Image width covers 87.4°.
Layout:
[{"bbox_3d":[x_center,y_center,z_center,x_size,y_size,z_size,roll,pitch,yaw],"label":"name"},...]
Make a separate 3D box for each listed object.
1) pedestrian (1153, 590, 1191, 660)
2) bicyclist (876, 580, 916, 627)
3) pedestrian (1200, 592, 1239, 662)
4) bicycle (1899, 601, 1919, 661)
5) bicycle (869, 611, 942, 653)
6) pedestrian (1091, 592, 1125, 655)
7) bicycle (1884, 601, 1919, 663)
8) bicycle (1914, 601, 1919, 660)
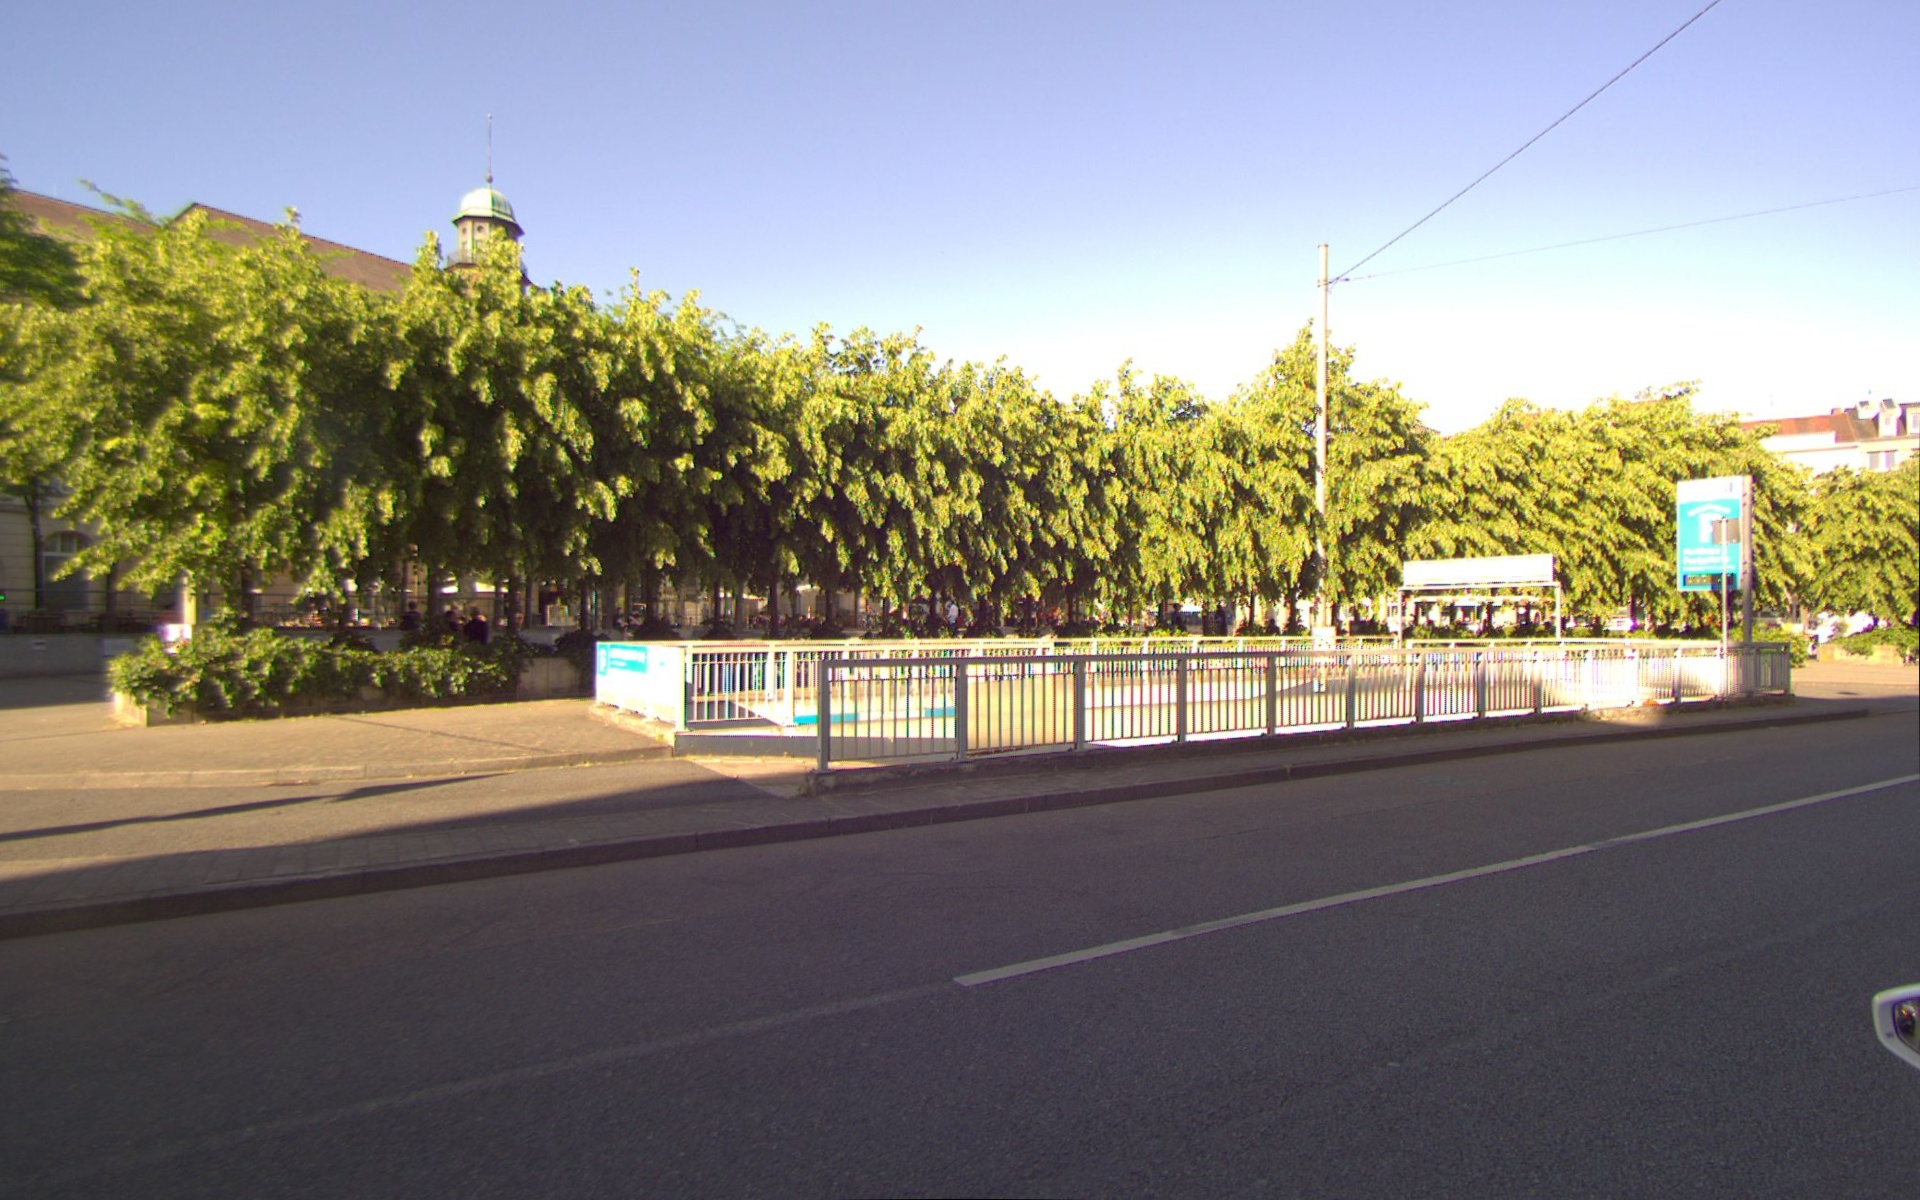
[{"bbox_3d":[6.543,0.776,30.997,0.949,2.136,0.733,0,0,-8],"label":"pedestrian"},{"bbox_3d":[-2.416,0.128,37.814,1.199,1.723,0.957,1,0,-36],"label":"bicyclist"},{"bbox_3d":[8.098,0.834,31.351,0.949,2.136,0.733,0,0,-8],"label":"pedestrian"},{"bbox_3d":[33.460,1.068,33.479,0.895,2.040,3.116,0,0,-21],"label":"bicycle"},{"bbox_3d":[-2.056,1.207,38.120,2.662,1.523,0.957,1,-1,-36],"label":"bicycle"},{"bbox_3d":[5.079,0.797,34.491,0.949,2.136,0.733,0,0,-8],"label":"pedestrian"},{"bbox_3d":[32.593,1.068,33.091,0.895,2.040,3.116,0,0,-21],"label":"bicycle"},{"bbox_3d":[34.368,1.068,33.863,0.895,2.040,3.116,0,0,-21],"label":"bicycle"}]
